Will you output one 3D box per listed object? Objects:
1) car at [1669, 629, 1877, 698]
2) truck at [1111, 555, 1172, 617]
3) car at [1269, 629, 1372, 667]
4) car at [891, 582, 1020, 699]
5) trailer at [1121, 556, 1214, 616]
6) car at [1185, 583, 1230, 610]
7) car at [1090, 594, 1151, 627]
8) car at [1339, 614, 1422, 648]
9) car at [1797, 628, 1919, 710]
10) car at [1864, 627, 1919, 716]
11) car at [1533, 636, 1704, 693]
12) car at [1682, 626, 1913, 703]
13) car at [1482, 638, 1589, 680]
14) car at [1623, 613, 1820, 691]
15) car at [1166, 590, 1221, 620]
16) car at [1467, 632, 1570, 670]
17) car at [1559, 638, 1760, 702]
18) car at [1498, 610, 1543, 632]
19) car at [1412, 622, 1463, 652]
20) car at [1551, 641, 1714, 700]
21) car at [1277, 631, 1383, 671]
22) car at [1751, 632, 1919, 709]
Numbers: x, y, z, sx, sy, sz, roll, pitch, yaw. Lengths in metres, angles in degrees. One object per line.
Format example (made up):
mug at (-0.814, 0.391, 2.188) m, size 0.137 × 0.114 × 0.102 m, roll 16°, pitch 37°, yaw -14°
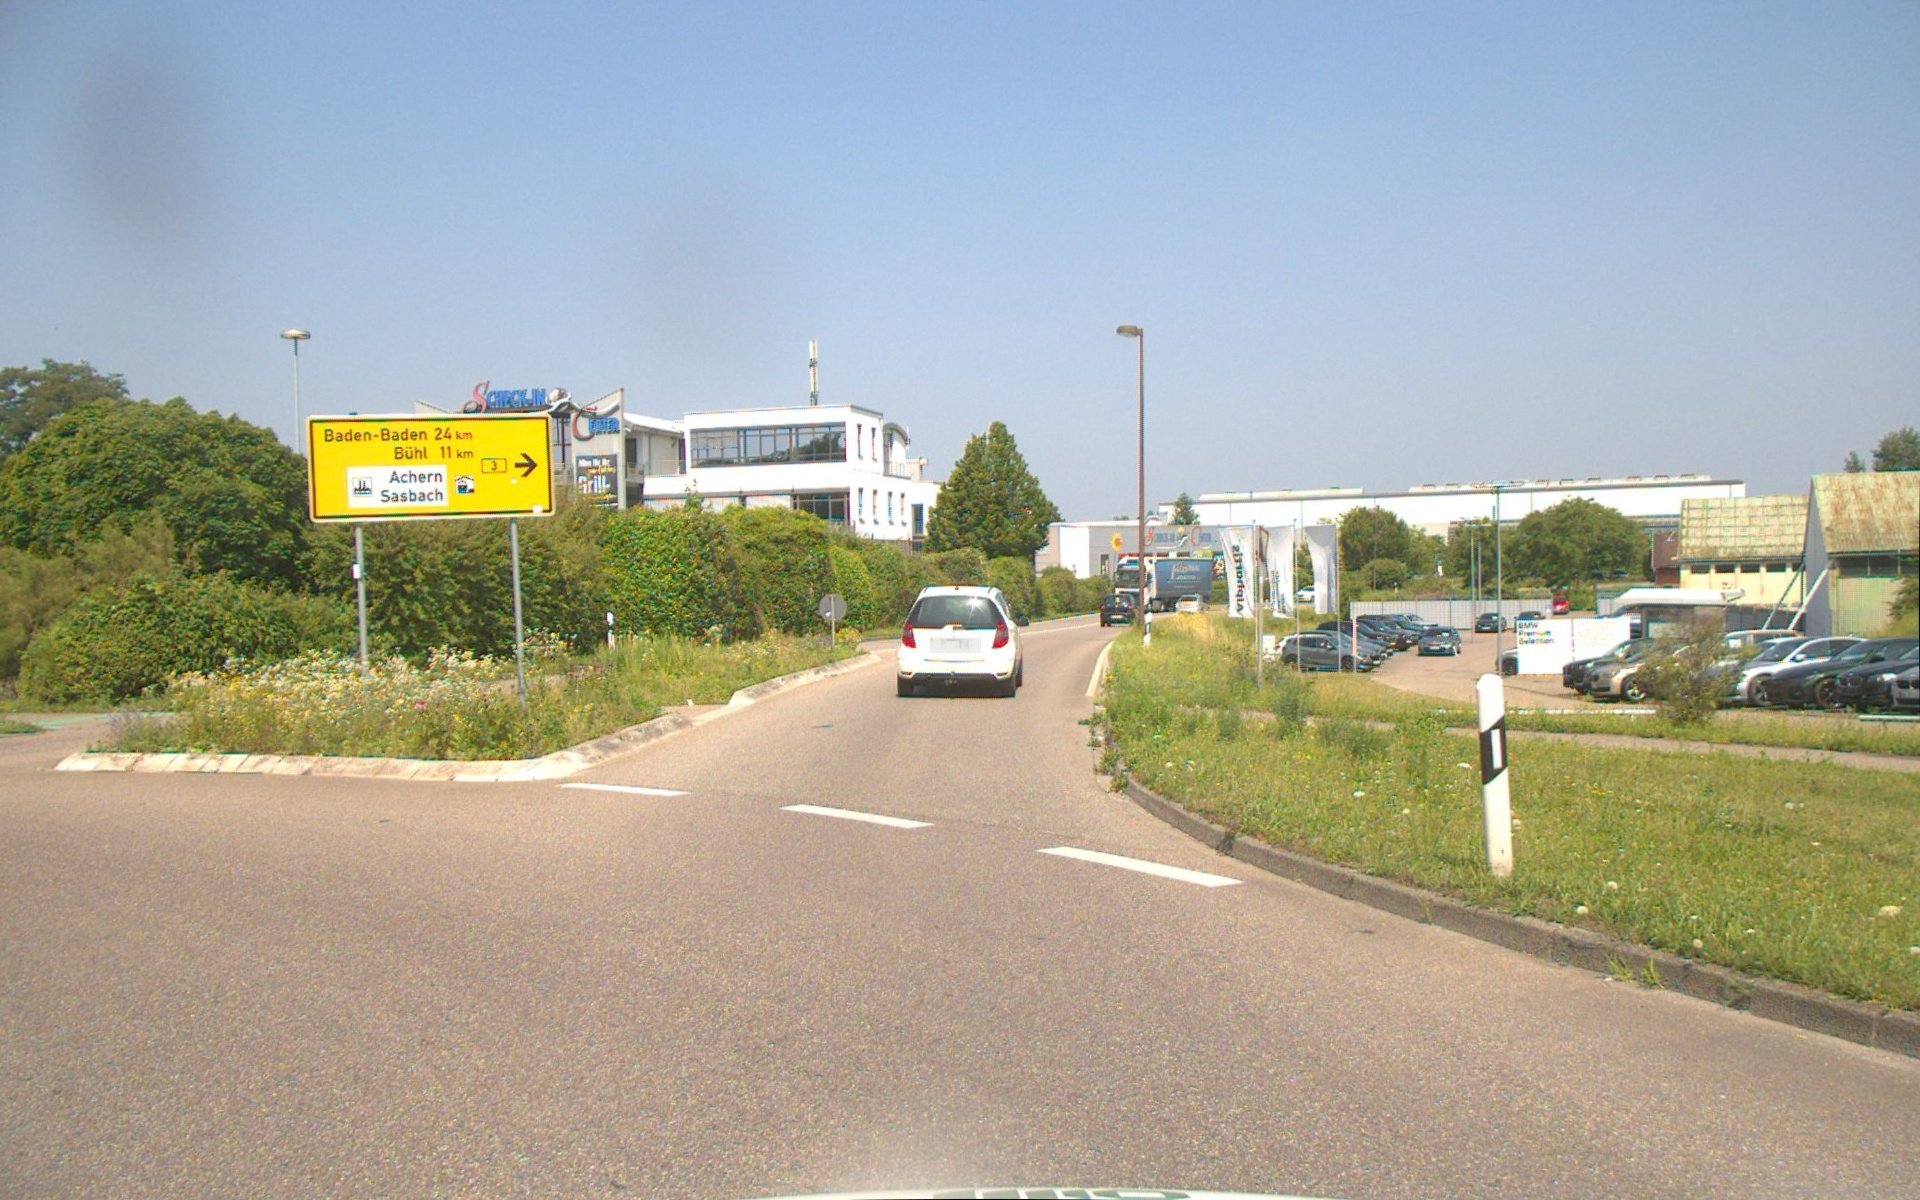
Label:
car at (20.114, 1.577, 41.055) m, size 4.159 × 1.491 × 1.874 m, roll -3°, pitch -3°, yaw 4°
truck at (13.312, -0.987, 120.944) m, size 2.463 × 4.332 × 6.109 m, roll -2°, pitch -1°, yaw 25°
car at (15.861, 2.088, 72.857) m, size 4.092 × 1.550 × 1.743 m, roll 0°, pitch 0°, yaw 39°
car at (0.001, 0.570, 25.290) m, size 1.744 × 1.631 × 3.895 m, roll 0°, pitch 0°, yaw 3°
trailer at (16.114, -0.996, 127.074) m, size 2.617 × 4.315 × 14.554 m, roll 0°, pitch 0°, yaw 25°
car at (18.909, -0.241, 126.261) m, size 1.958 × 2.049 × 3.989 m, roll 0°, pitch 0°, yaw 33°
car at (7.601, 0.479, 78.225) m, size 1.791 × 1.496 × 4.410 m, roll 0°, pitch 0°, yaw 21°
car at (23.500, 1.736, 92.504) m, size 1.904 × 1.730 × 4.168 m, roll -3°, pitch 2°, yaw -43°
car at (19.342, 1.315, 33.101) m, size 4.166 × 1.508 × 1.920 m, roll -3°, pitch -3°, yaw -5°
car at (19.517, 1.205, 30.653) m, size 4.470 × 1.593 × 1.920 m, roll -3°, pitch -3°, yaw -5°
car at (20.162, 1.969, 50.782) m, size 4.389 × 1.669 × 2.147 m, roll 0°, pitch -2°, yaw 0°
car at (19.270, 1.497, 38.176) m, size 4.334 × 1.491 × 1.921 m, roll -3°, pitch -3°, yaw -4°
car at (23.073, 2.335, 66.309) m, size 3.728 × 1.550 × 1.744 m, roll 0°, pitch 0°, yaw 37°
car at (19.854, 1.364, 43.273) m, size 4.159 × 1.779 × 2.001 m, roll -3°, pitch -3°, yaw 4°
car at (15.928, 0.345, 112.563) m, size 1.962 × 2.049 × 3.980 m, roll 0°, pitch 0°, yaw 39°
car at (23.715, 2.167, 70.265) m, size 3.884 × 1.550 × 1.748 m, roll -1°, pitch -1°, yaw 30°
car at (19.314, 1.949, 45.854) m, size 4.667 × 1.534 × 2.001 m, roll -3°, pitch -3°, yaw 4°
car at (38.826, 1.445, 114.496) m, size 1.959 × 1.422 × 3.987 m, roll 0°, pitch 0°, yaw 34°
car at (25.268, 1.952, 87.375) m, size 2.092 × 1.483 × 4.531 m, roll 0°, pitch 0°, yaw 23°
car at (19.616, 2.067, 48.377) m, size 3.905 × 1.579 × 1.999 m, roll -2°, pitch -2°, yaw 0°
car at (15.515, 2.100, 69.406) m, size 4.099 × 1.550 × 1.679 m, roll 0°, pitch 0°, yaw 43°
car at (19.497, 1.480, 35.388) m, size 4.159 × 1.437 × 1.923 m, roll -3°, pitch -3°, yaw 4°
